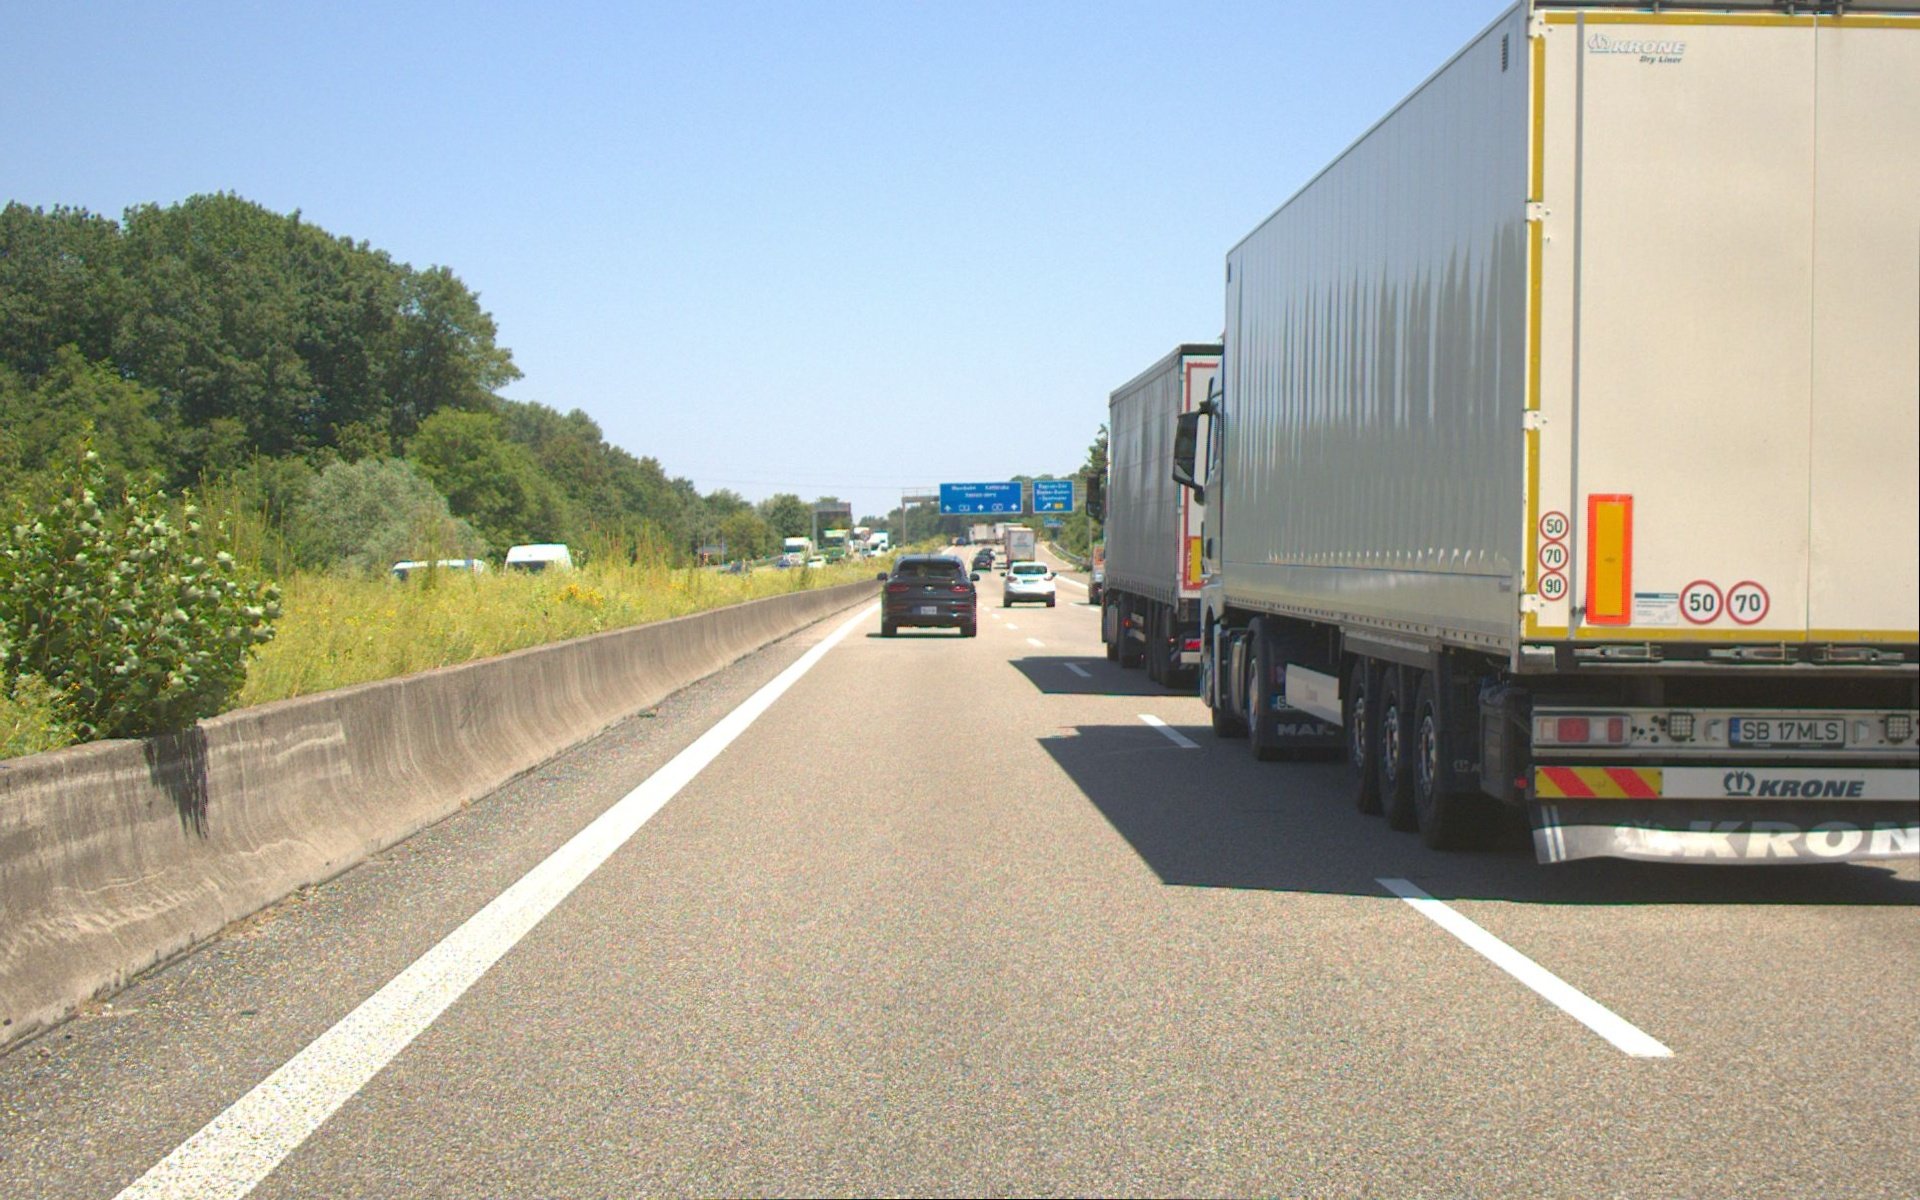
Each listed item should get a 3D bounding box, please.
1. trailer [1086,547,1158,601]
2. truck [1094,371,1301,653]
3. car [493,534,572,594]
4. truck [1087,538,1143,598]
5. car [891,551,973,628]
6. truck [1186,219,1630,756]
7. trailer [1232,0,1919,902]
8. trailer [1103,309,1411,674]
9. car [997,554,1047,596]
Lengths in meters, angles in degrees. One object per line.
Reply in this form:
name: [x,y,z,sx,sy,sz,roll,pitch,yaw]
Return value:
trailer: [6.279,-1.033,134.105,2.420,2.007,6.034,0,1,-1]
truck: [3.580,-1.296,53.229,2.700,4.080,6.453,0,0,0]
car: [-15.185,-1.295,122.465,1.993,2.007,6.557,2,1,-1]
truck: [6.258,-1.319,139.485,1.993,2.365,4.645,0,1,-1]
car: [-0.615,-0.238,72.678,1.660,1.544,3.783,1,1,-1]
truck: [3.538,-0.880,28.638,2.799,3.993,6.021,0,1,-1]
trailer: [3.672,-0.799,21.082,2.794,4.021,12.568,0,1,-1]
trailer: [3.619,-1.249,45.739,2.707,4.054,14.746,0,0,0]
car: [2.255,-0.928,126.050,1.740,1.481,4.000,0,1,0]
